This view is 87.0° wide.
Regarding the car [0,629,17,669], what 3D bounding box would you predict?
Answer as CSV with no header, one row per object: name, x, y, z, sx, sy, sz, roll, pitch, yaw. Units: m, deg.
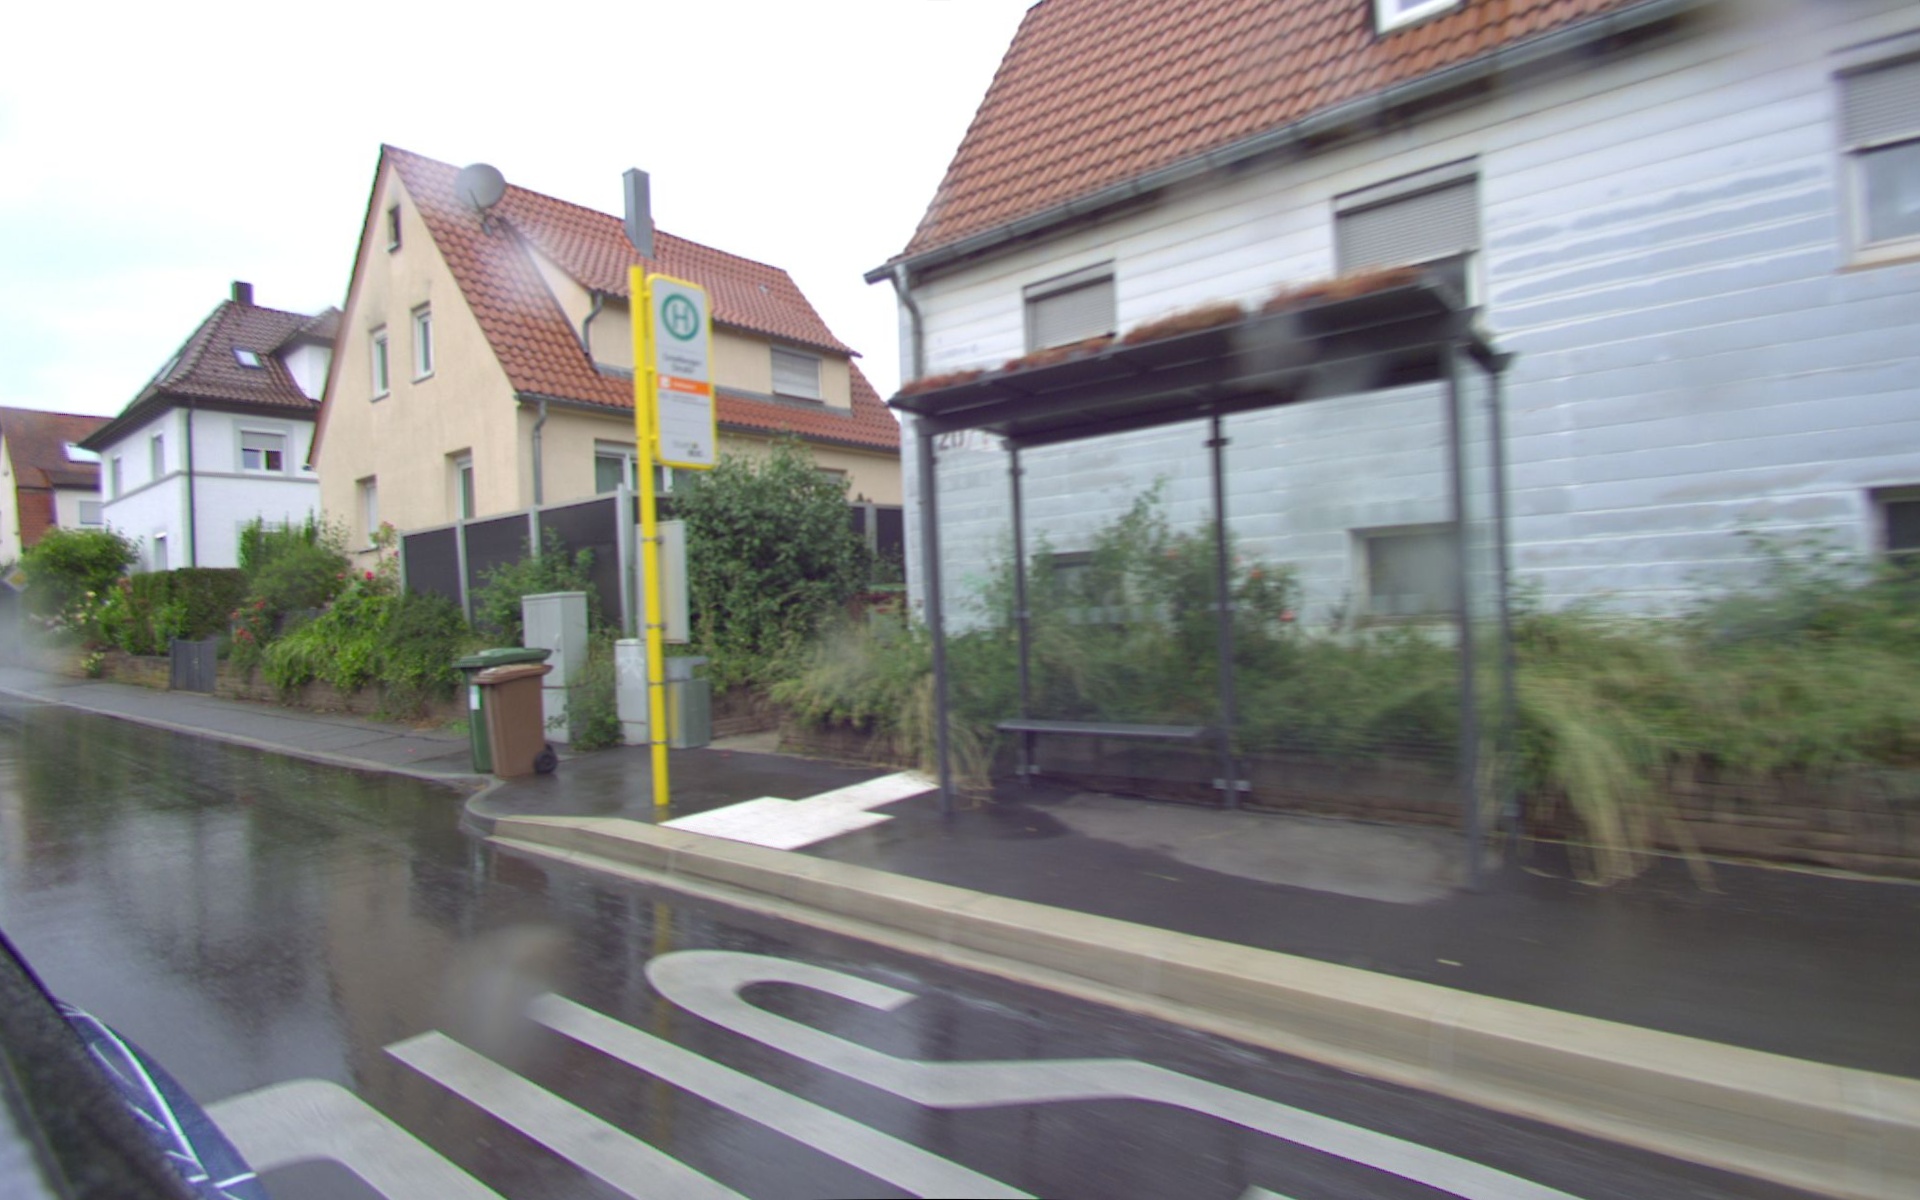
car,-51.381,2.237,51.805,1.870,1.990,3.954,-2,-13,35

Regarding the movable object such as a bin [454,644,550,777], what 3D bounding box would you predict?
movable object such as a bin,-4.104,0.971,9.076,0.527,1.090,0.547,-2,2,41

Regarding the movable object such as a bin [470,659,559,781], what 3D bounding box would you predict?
movable object such as a bin,-3.757,0.998,8.539,0.454,0.946,0.463,-4,1,41
